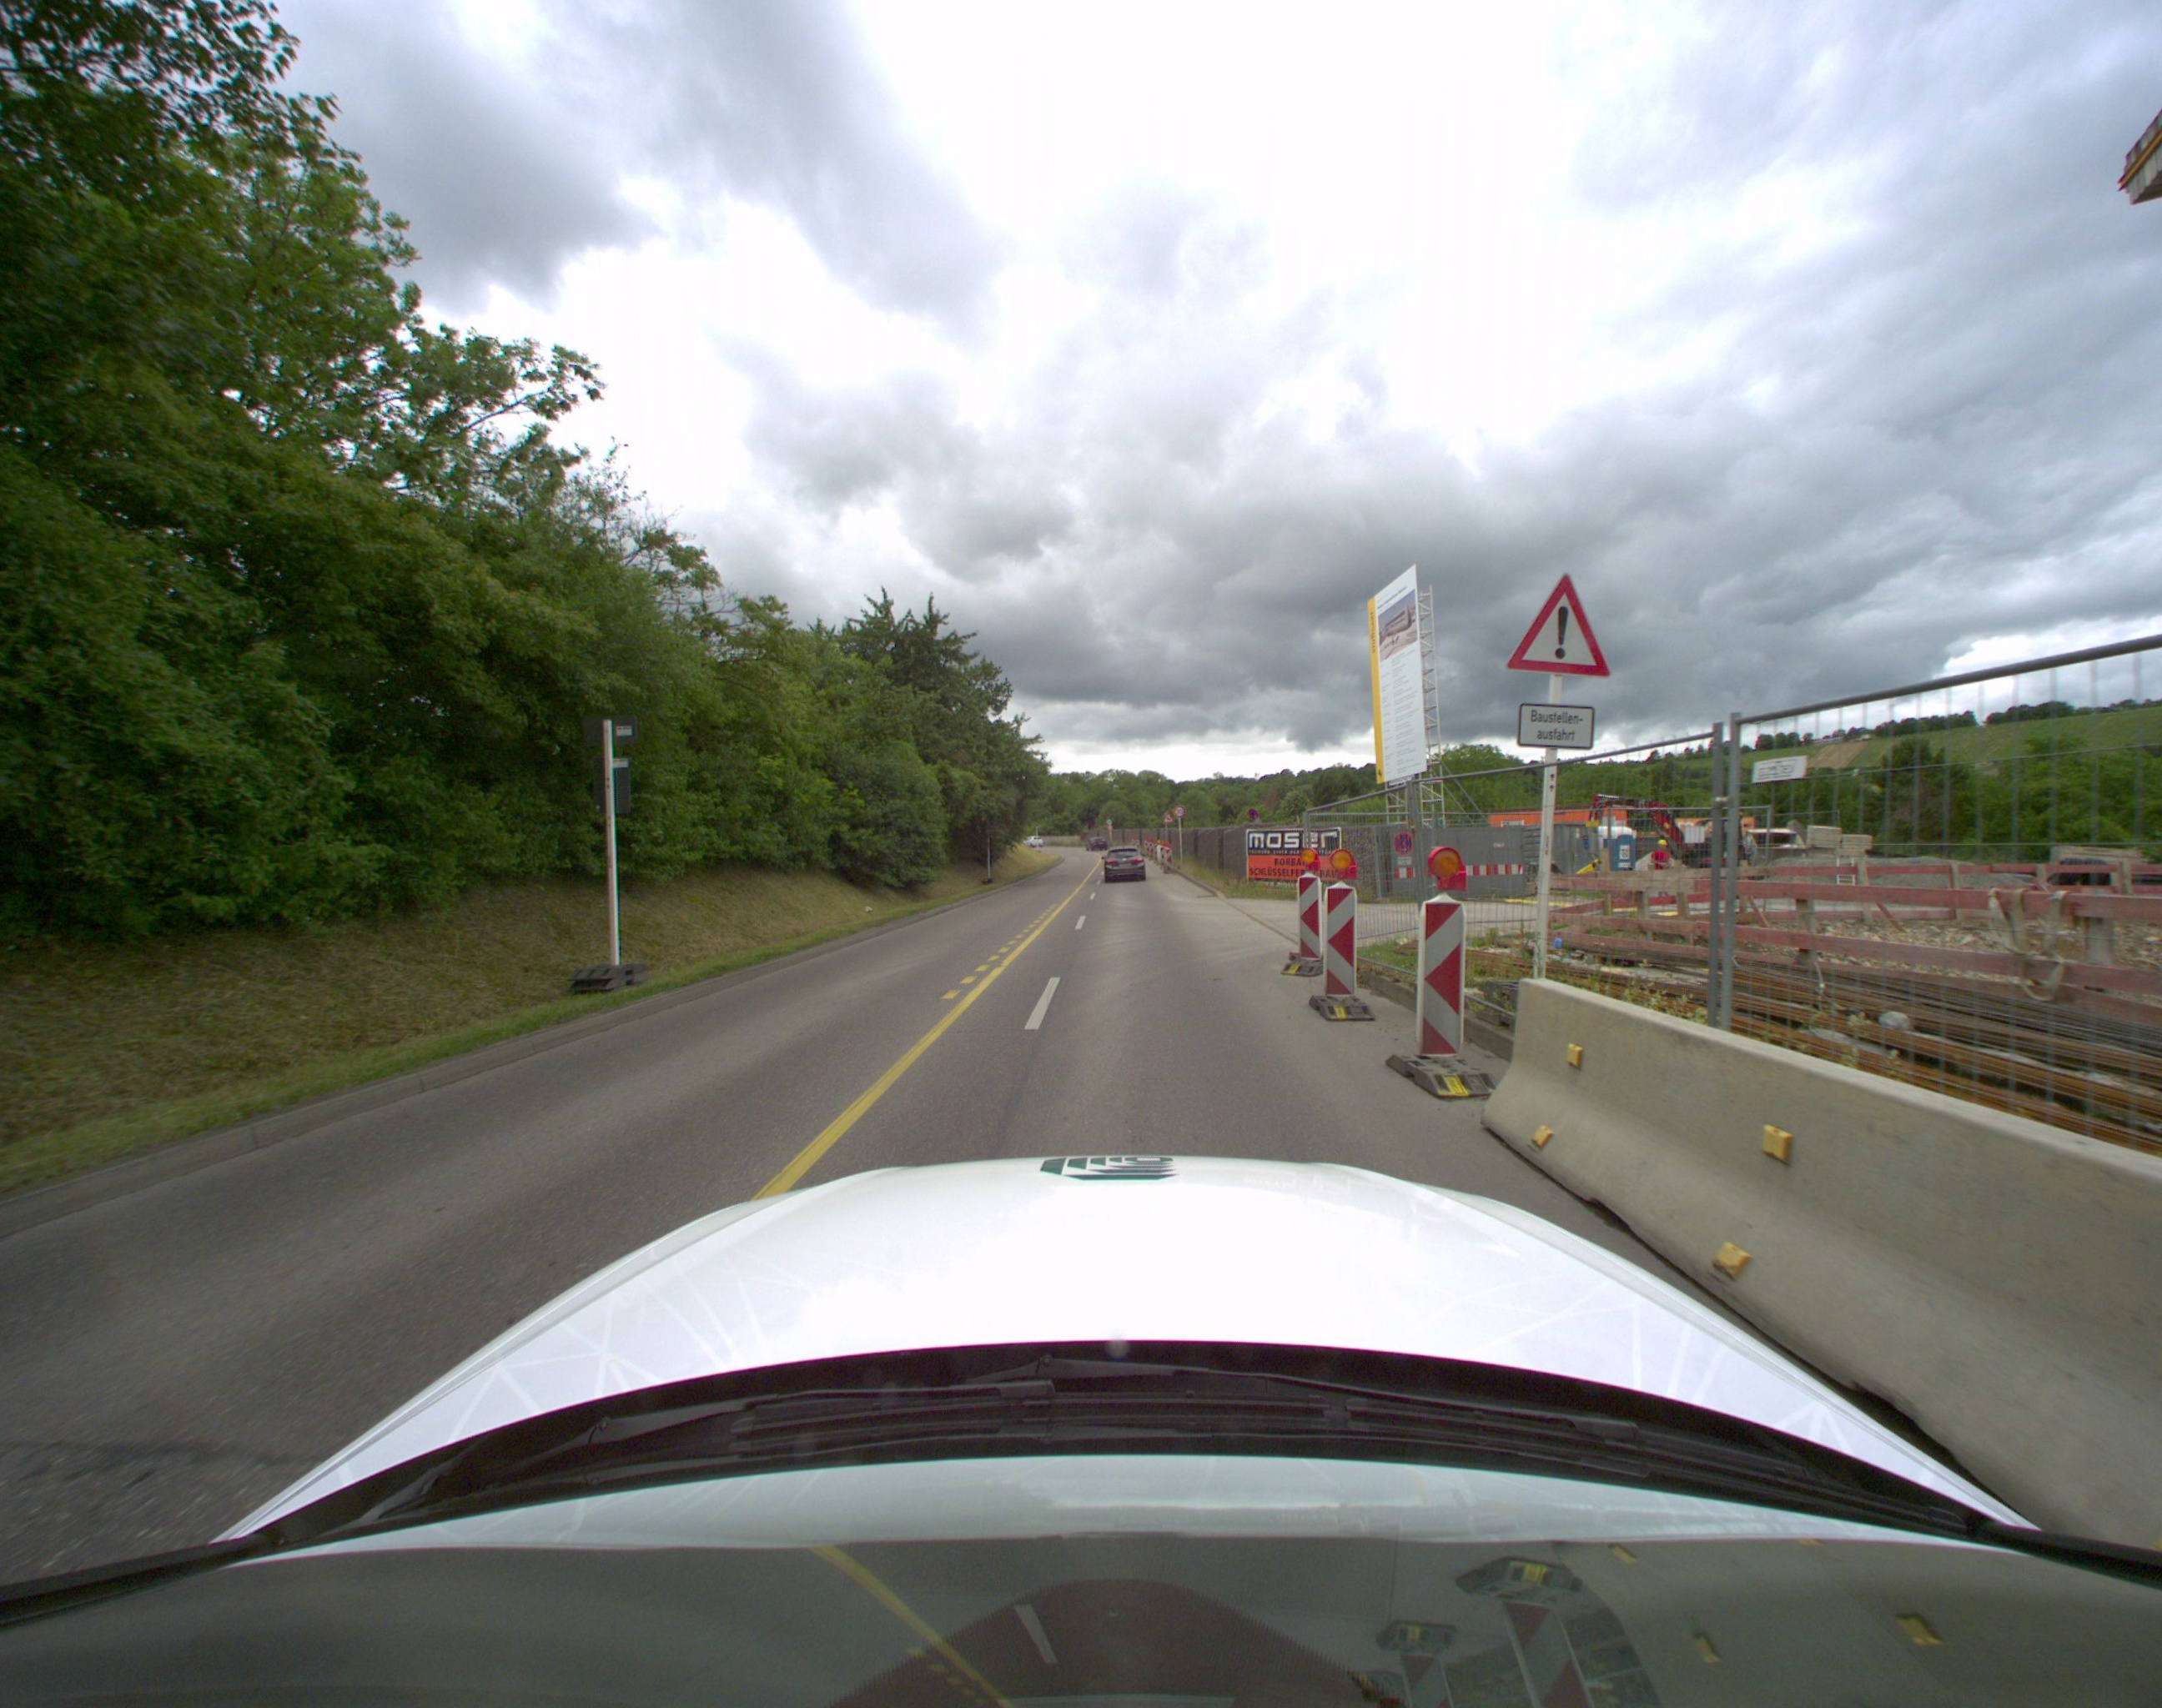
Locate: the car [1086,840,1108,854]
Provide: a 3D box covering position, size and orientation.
[{"bbox_3d":[1.753,-0.716,88.829,1.779,1.453,3.845,0,-1,-9],"label":"car"}]

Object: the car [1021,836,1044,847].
[{"bbox_3d":[-6.643,-1.779,111.879,1.842,1.438,3.886,-2,3,-26],"label":"car"}]

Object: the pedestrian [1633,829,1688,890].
[{"bbox_3d":[18.421,0.168,25.909,0.824,1.901,1.152,0,-1,-8],"label":"pedestrian"}]

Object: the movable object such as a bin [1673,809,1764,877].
[{"bbox_3d":[25.707,-0.405,32.861,2.708,2.585,2.012,-1,-1,42],"label":"movable object such as a bin"}]

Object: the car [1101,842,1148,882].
[{"bbox_3d":[1.863,0.322,36.014,1.833,1.483,4.001,-4,1,1],"label":"car"}]
